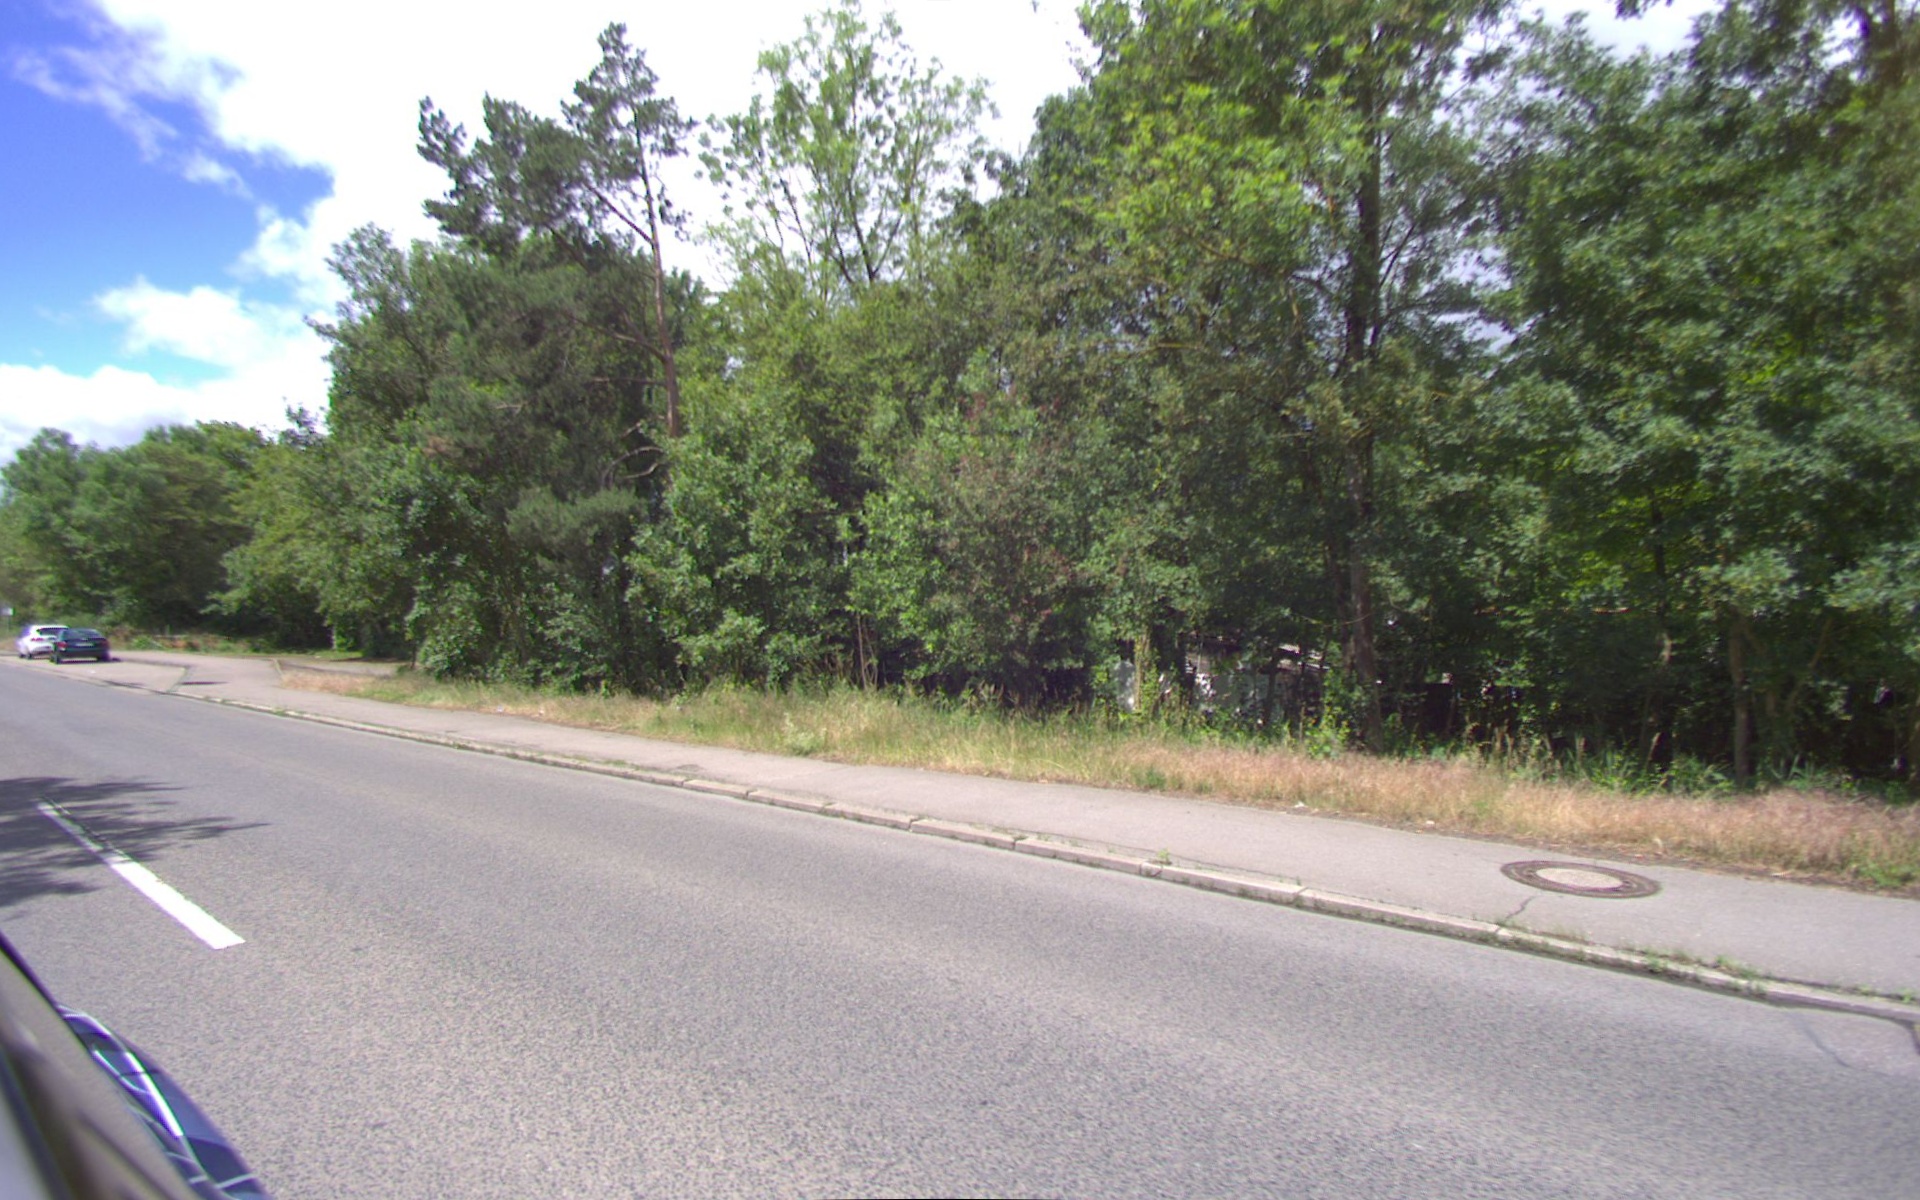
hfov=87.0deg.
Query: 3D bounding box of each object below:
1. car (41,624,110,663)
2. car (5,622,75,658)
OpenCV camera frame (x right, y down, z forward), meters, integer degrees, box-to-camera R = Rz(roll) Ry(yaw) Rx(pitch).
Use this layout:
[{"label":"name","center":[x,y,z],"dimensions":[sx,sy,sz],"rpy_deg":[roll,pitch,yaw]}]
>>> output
[{"label":"car","center":[-35.548,1.714,40.640],"dimensions":[4.266,1.418,1.748],"rpy_deg":[-1,0,44]},{"label":"car","center":[-41.342,1.748,45.458],"dimensions":[4.242,1.481,1.750],"rpy_deg":[-1,0,40]}]
